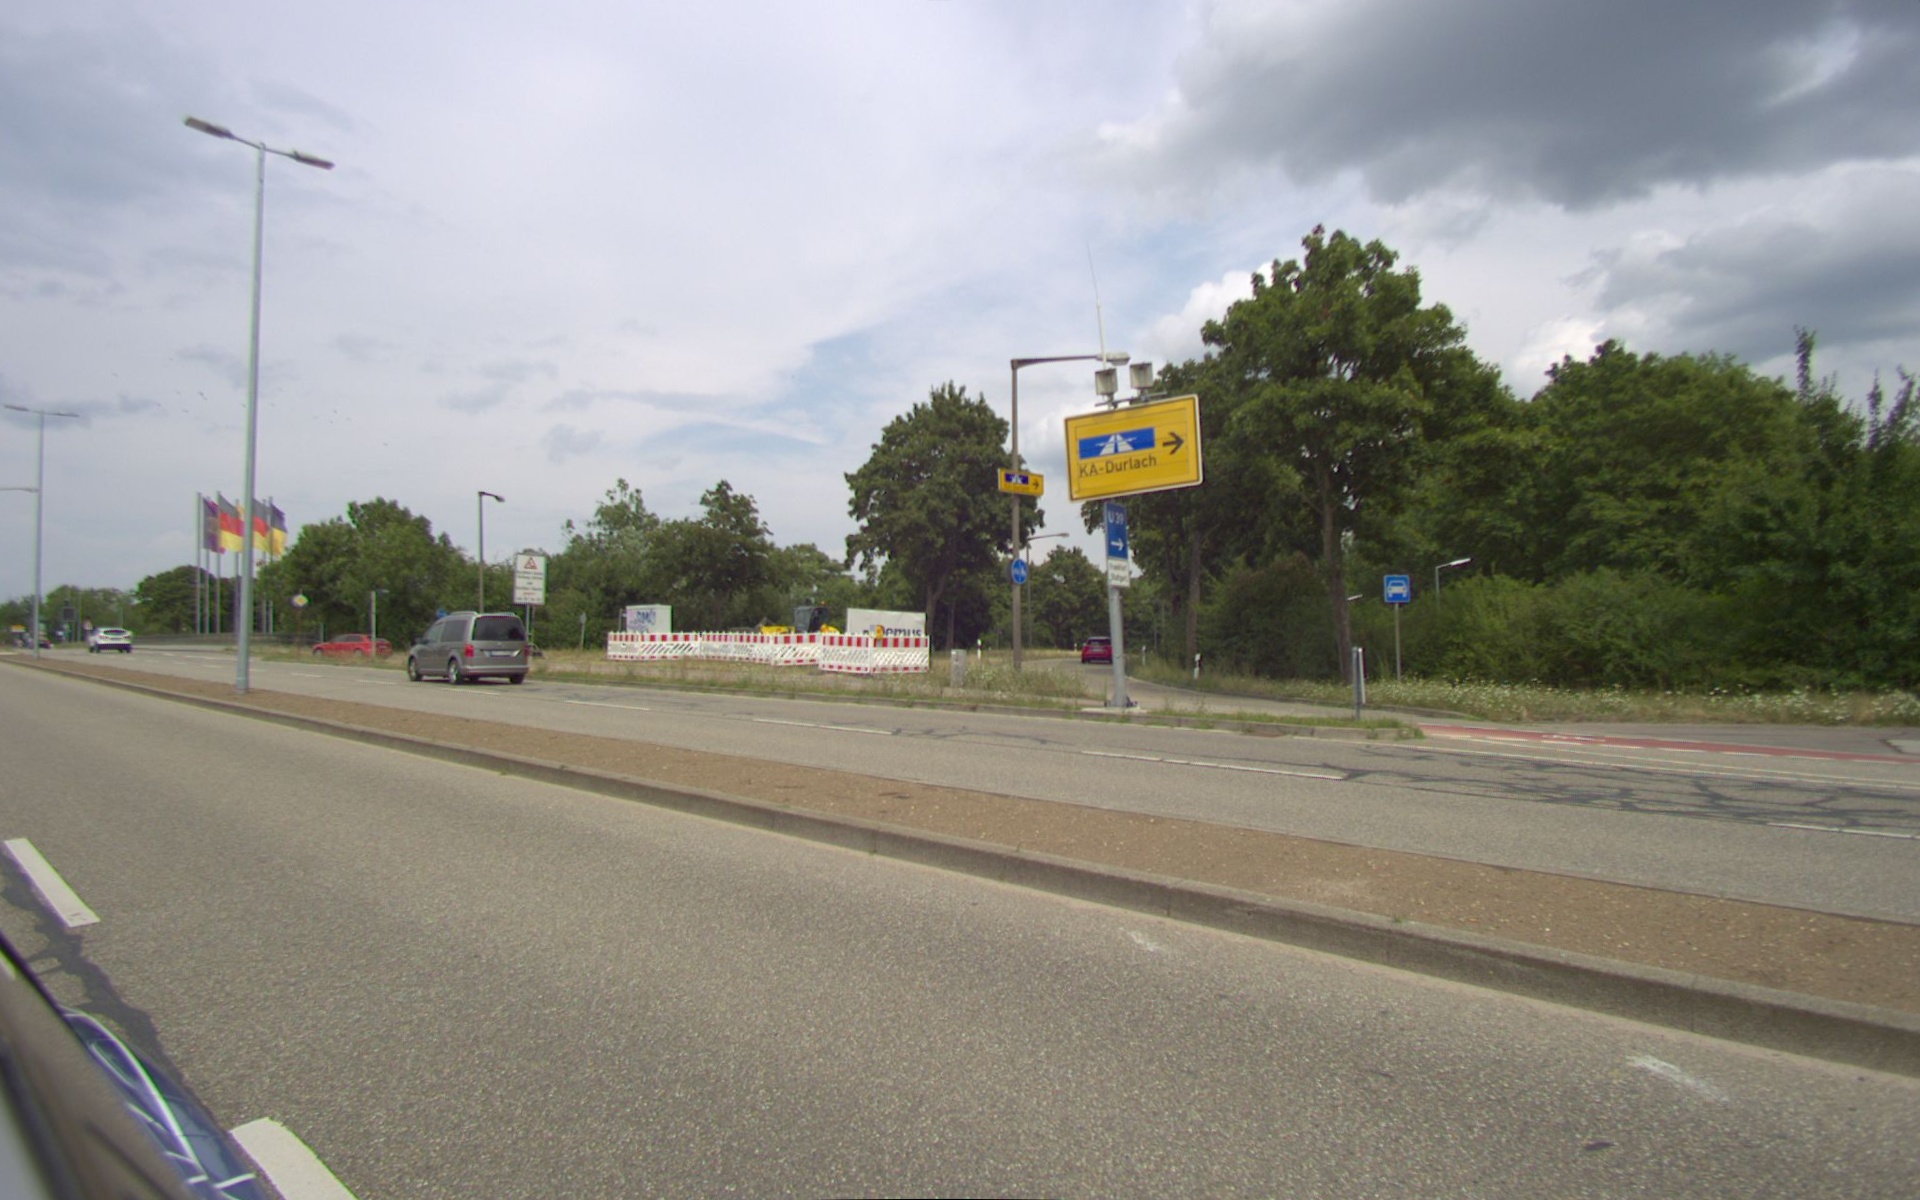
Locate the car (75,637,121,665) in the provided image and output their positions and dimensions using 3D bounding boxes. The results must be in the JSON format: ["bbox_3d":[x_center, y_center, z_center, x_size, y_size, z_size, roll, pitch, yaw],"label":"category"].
[{"bbox_3d":[-55.392,3.290,65.027,4.382,1.641,1.676,-3,-3,42],"label":"car"}]

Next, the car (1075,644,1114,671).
[{"bbox_3d":[7.353,3.126,55.115,1.699,1.335,3.468,-2,-2,14],"label":"car"}]

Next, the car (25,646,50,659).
[{"bbox_3d":[-107.653,6.100,118.063,1.970,1.384,4.580,3,-3,-44],"label":"car"}]

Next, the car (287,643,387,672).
[{"bbox_3d":[-32.773,3.035,53.338,4.239,1.384,1.780,-2,-2,3],"label":"car"}]

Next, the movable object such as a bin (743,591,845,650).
[{"bbox_3d":[-7.306,0.912,44.919,1.992,2.415,4.545,-3,-2,31],"label":"movable object such as a bin"}]

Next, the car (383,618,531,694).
[{"bbox_3d":[-13.285,1.454,26.629,4.536,1.823,1.883,-3,-3,41],"label":"car"}]
